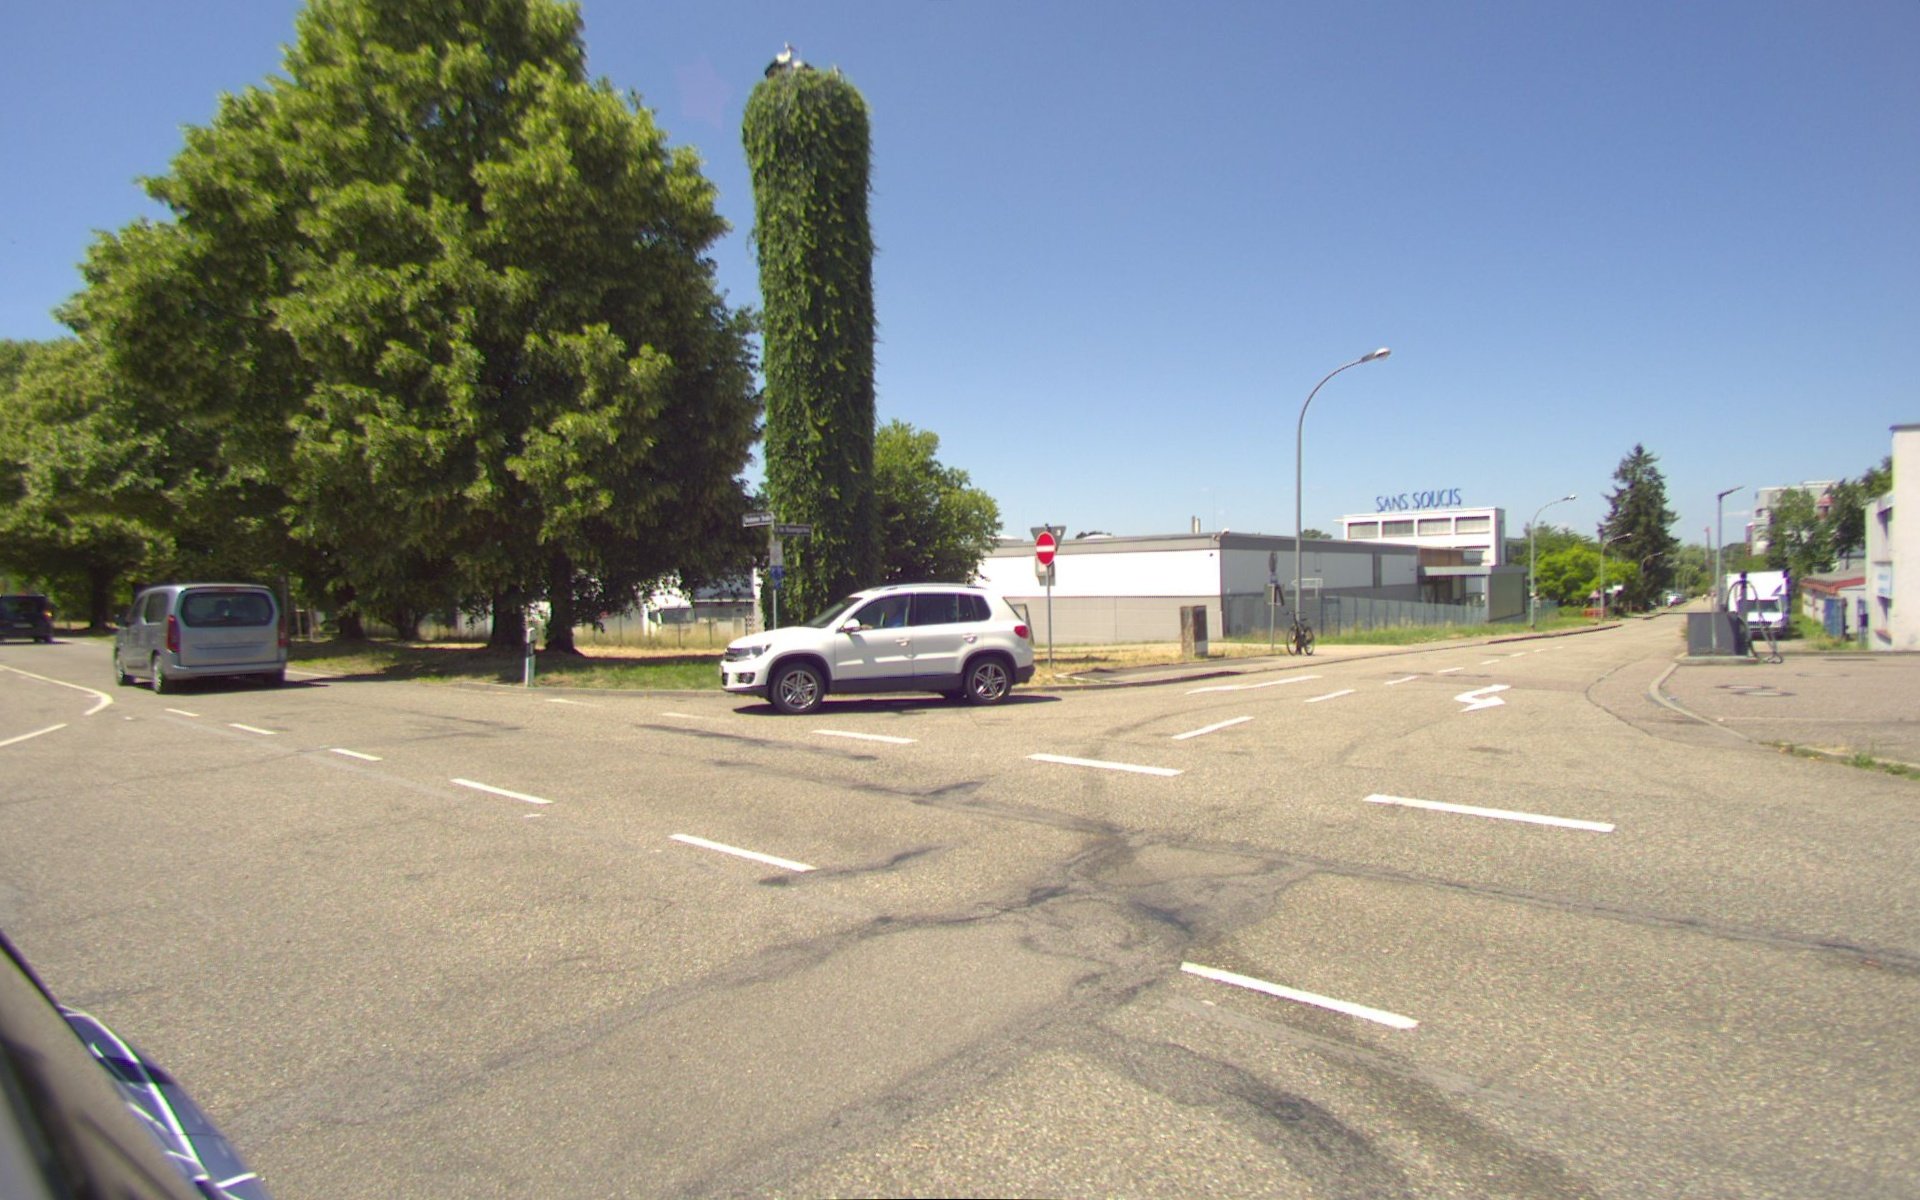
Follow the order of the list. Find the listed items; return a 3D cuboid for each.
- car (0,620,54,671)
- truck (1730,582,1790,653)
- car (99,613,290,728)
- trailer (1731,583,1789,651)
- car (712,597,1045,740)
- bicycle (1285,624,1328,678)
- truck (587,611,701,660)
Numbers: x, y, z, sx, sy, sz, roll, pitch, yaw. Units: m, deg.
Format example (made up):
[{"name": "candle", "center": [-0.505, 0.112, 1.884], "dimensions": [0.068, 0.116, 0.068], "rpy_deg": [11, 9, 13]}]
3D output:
[{"name": "car", "center": [-34.794, 1.632, 37.128], "dimensions": [4.781, 1.795, 1.803], "rpy_deg": [-1, -2, 42]}, {"name": "truck", "center": [41.037, 0.849, 51.956], "dimensions": [2.305, 3.448, 4.661], "rpy_deg": [-1, 0, 38]}, {"name": "car", "center": [-13.630, 1.151, 17.930], "dimensions": [4.360, 1.786, 1.778], "rpy_deg": [-1, -1, 40]}, {"name": "trailer", "center": [43.320, 0.854, 54.827], "dimensions": [2.305, 3.435, 7.227], "rpy_deg": [-1, 0, 38]}, {"name": "car", "center": [-1.168, 0.851, 13.891], "dimensions": [4.175, 1.685, 1.981], "rpy_deg": [-1, -1, -18]}, {"name": "bicycle", "center": [8.982, 1.309, 26.225], "dimensions": [1.518, 1.359, 0.395], "rpy_deg": [1, -2, -44]}, {"name": "truck", "center": [-20.199, 2.219, 64.172], "dimensions": [2.654, 2.818, 10.167], "rpy_deg": [-2, 0, -43]}]
